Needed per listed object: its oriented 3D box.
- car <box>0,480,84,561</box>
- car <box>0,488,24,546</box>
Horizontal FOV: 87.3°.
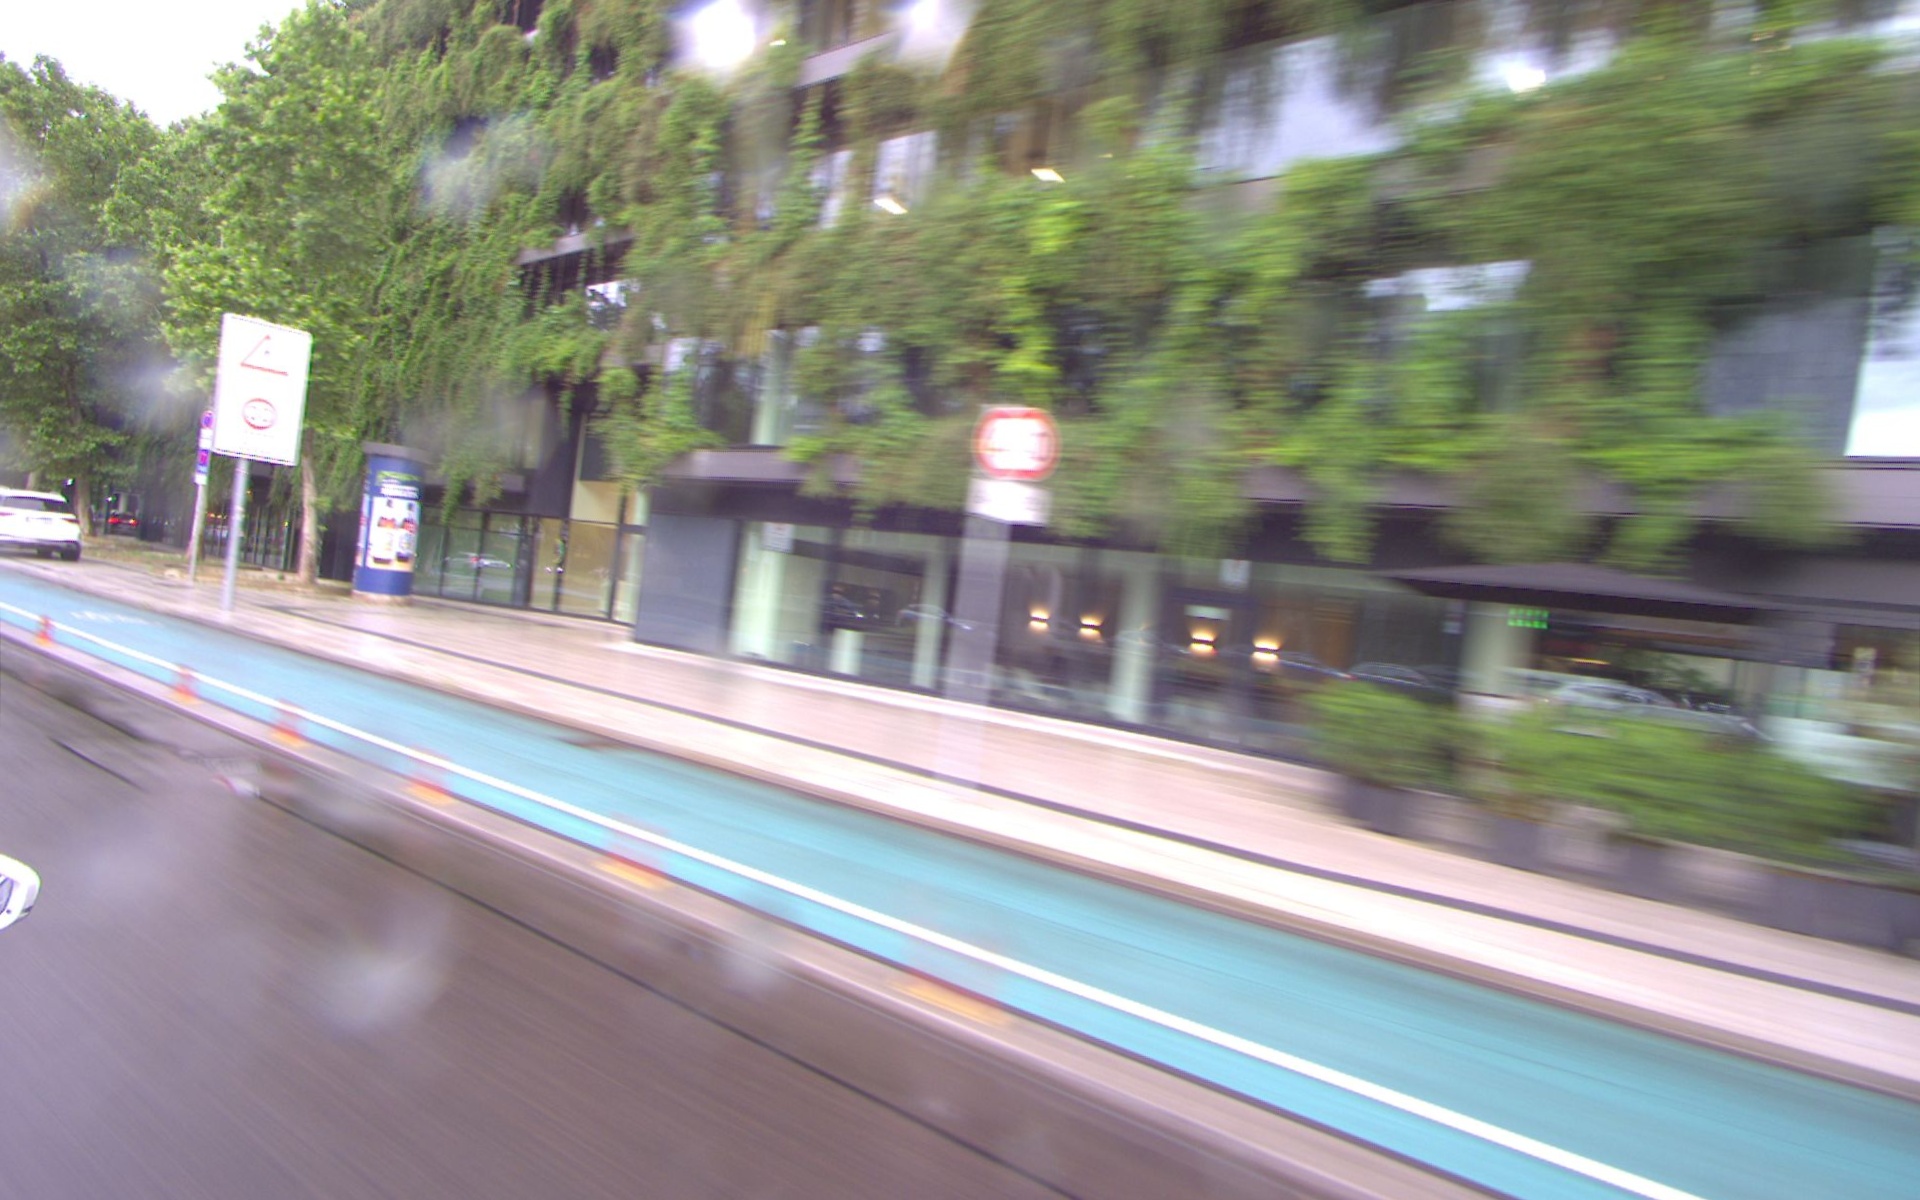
[{"bbox_3d":[-25.850,-2.291,27.535,5.017,1.861,1.842,7,1,38],"label":"car"},{"bbox_3d":[-30.736,-2.782,30.976,4.712,1.652,1.844,7,-1,36],"label":"car"}]
